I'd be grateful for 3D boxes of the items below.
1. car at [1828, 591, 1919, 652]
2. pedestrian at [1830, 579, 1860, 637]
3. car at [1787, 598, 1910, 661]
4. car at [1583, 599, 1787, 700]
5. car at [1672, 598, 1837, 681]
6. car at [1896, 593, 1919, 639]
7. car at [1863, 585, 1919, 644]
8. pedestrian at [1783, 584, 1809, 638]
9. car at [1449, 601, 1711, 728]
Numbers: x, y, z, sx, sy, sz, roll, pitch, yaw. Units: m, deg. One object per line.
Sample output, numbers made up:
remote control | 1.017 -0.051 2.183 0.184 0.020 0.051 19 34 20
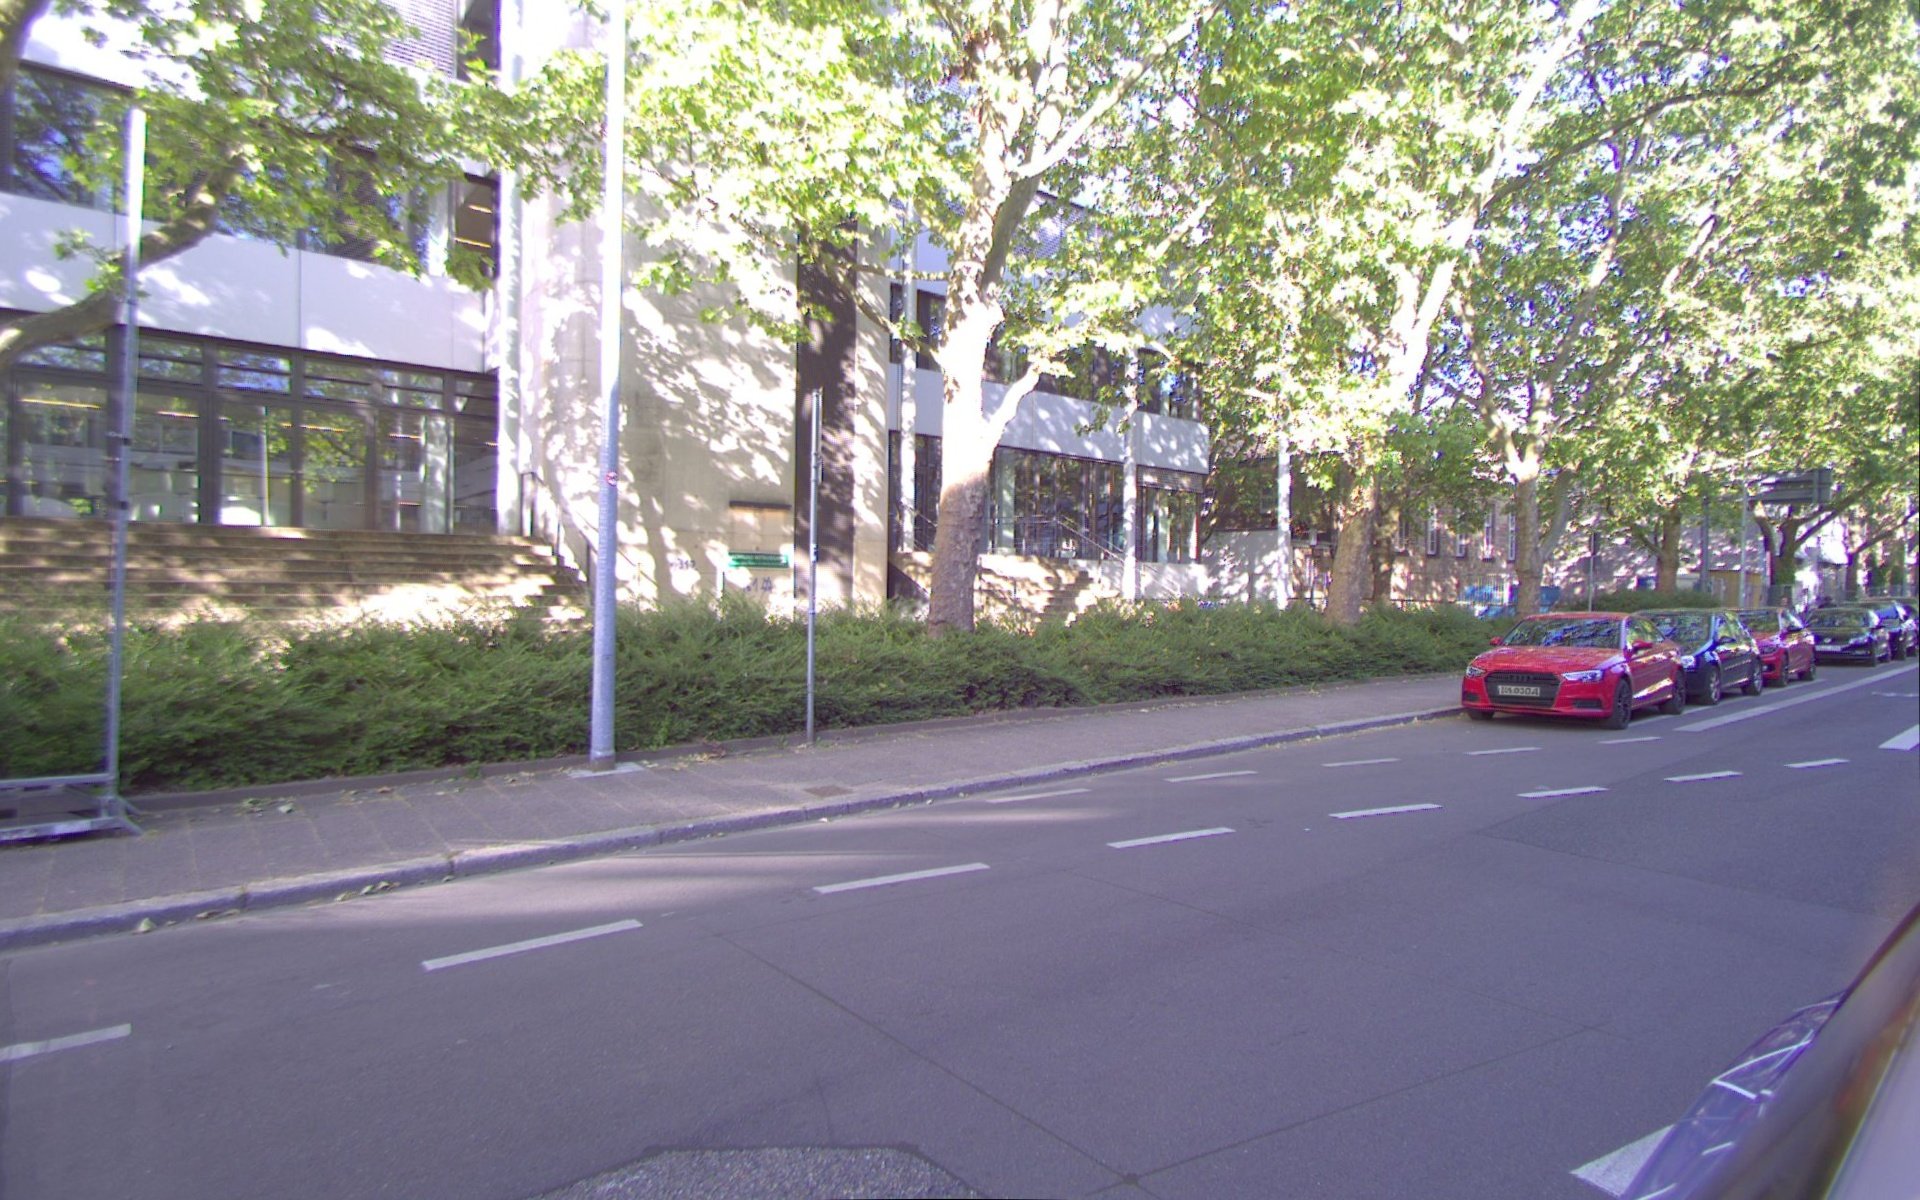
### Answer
car | 26.557 0.569 29.089 4.088 1.626 1.834 0 0 -40
pedestrian | 29.234 0.263 33.423 0.629 1.884 0.660 0 0 -41
car | 22.868 0.699 25.994 4.095 1.486 1.834 0 0 -41
car | 12.021 0.716 16.687 4.095 1.464 1.834 0 0 -41
car | 15.836 0.706 20.102 4.095 1.486 1.834 0 0 -41
car | 35.905 0.577 37.104 4.183 1.634 1.834 0 0 -40
car | 31.042 0.435 32.979 4.384 1.820 1.834 0 0 -40
pedestrian | 28.595 0.357 34.629 0.583 1.818 0.600 0 0 -41
car | 8.402 0.734 13.571 4.173 1.422 1.834 0 0 -41
